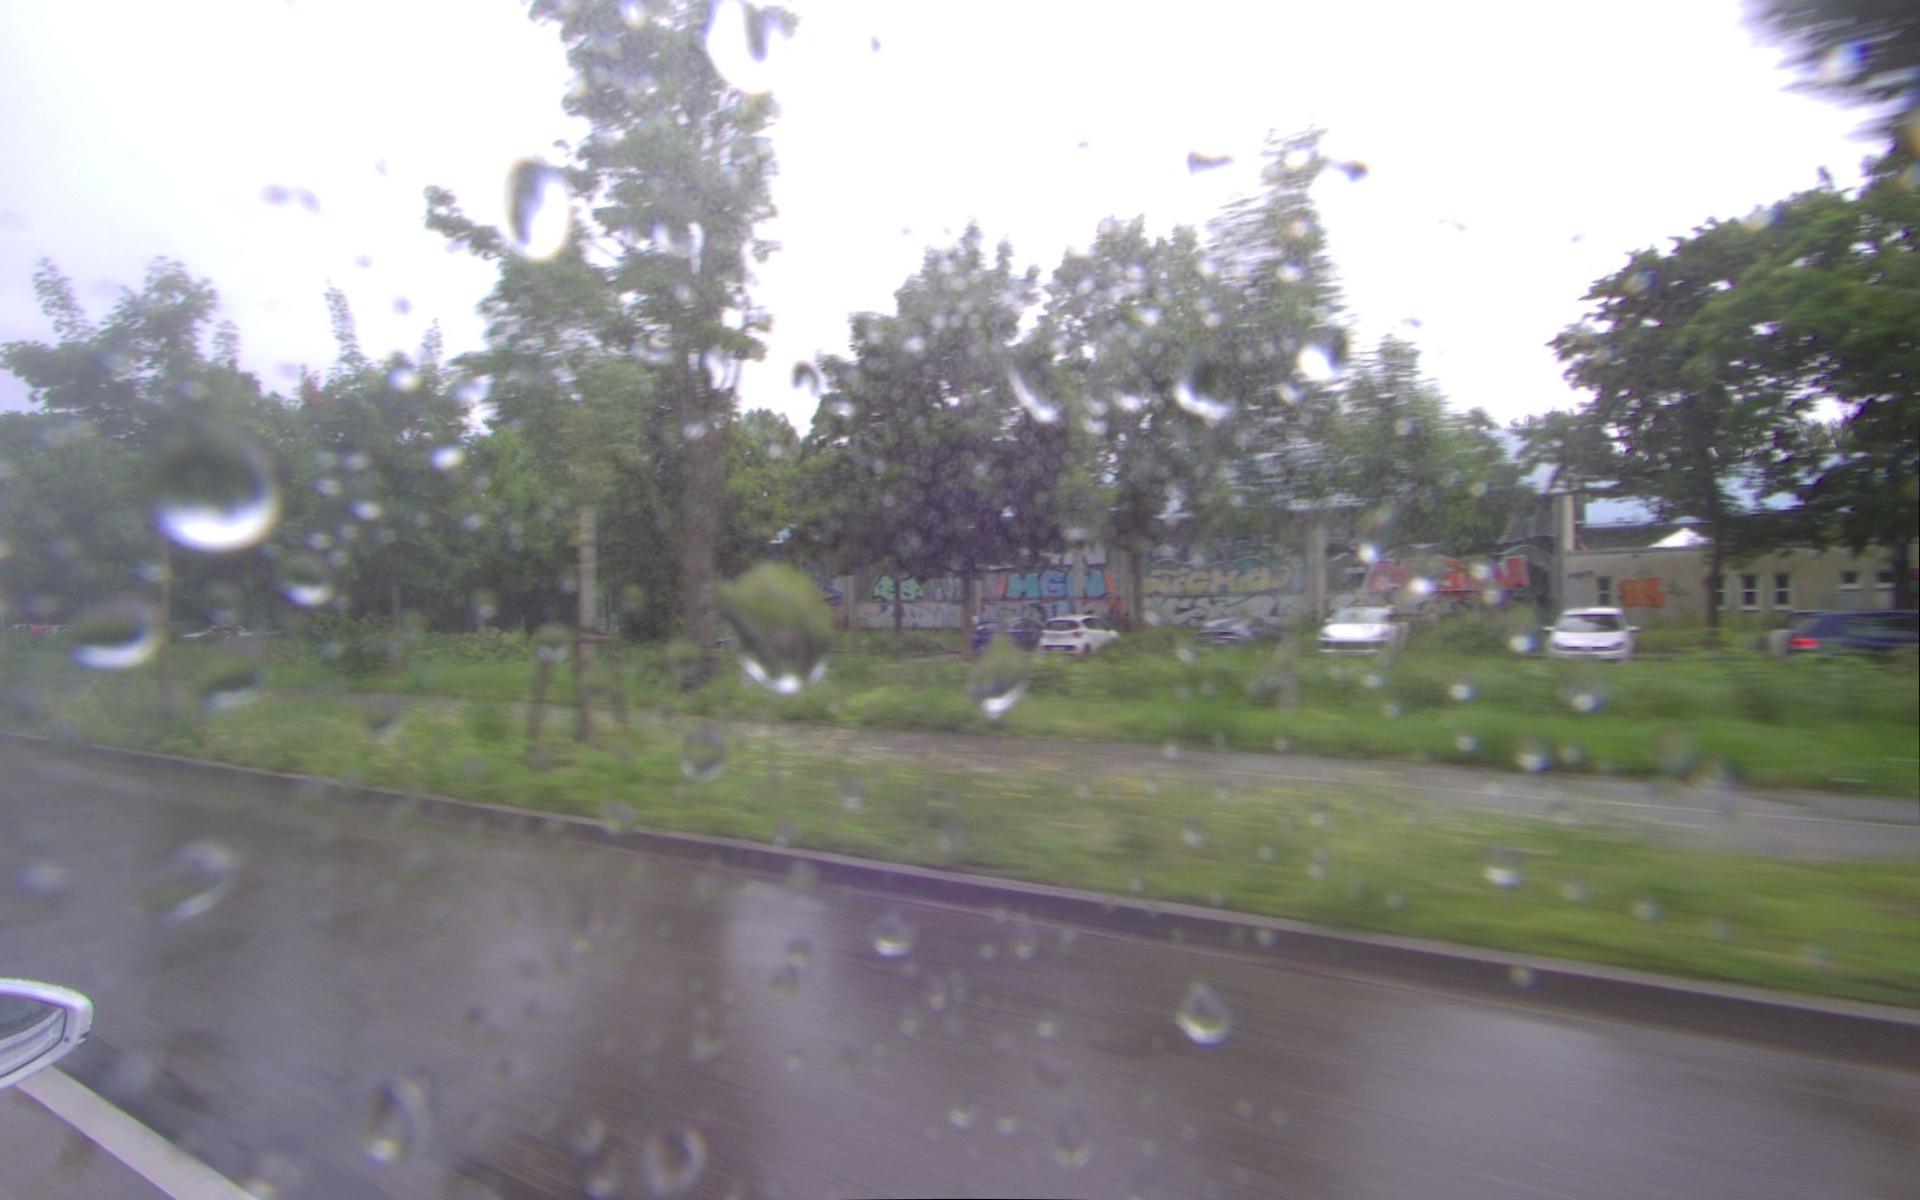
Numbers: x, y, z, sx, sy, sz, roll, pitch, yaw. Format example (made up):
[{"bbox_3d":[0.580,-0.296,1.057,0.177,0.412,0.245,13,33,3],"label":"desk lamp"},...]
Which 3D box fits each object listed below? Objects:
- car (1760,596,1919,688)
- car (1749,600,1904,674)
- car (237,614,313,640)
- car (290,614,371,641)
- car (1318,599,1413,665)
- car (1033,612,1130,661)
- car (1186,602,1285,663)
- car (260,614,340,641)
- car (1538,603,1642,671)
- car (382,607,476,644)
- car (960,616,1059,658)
[{"bbox_3d":[16.174,0.696,16.881,4.066,1.465,1.739,1,1,36],"label":"car"},{"bbox_3d":[20.361,0.896,23.736,1.916,1.577,4.331,-1,-3,30],"label":"car"},{"bbox_3d":[-46.943,1.877,68.671,1.785,1.660,3.973,-1,-3,38],"label":"car"},{"bbox_3d":[-39.779,1.776,63.304,1.785,1.660,3.973,-1,-3,38],"label":"car"},{"bbox_3d":[11.612,0.940,28.507,1.970,1.727,4.567,-1,-3,29],"label":"car"},{"bbox_3d":[4.271,1.289,34.586,1.834,1.566,4.569,-1,-3,27],"label":"car"},{"bbox_3d":[8.371,1.002,30.105,1.969,1.665,4.569,-1,-3,28],"label":"car"},{"bbox_3d":[-42.964,1.809,65.253,1.785,1.660,3.973,-1,-3,38],"label":"car"},{"bbox_3d":[16.180,0.968,25.617,1.920,1.577,4.557,-1,-3,36],"label":"car"},{"bbox_3d":[-27.860,1.365,52.668,1.870,1.843,3.948,-1,-3,33],"label":"car"},{"bbox_3d":[1.812,1.313,35.058,1.809,1.351,4.397,-1,-3,28],"label":"car"}]
